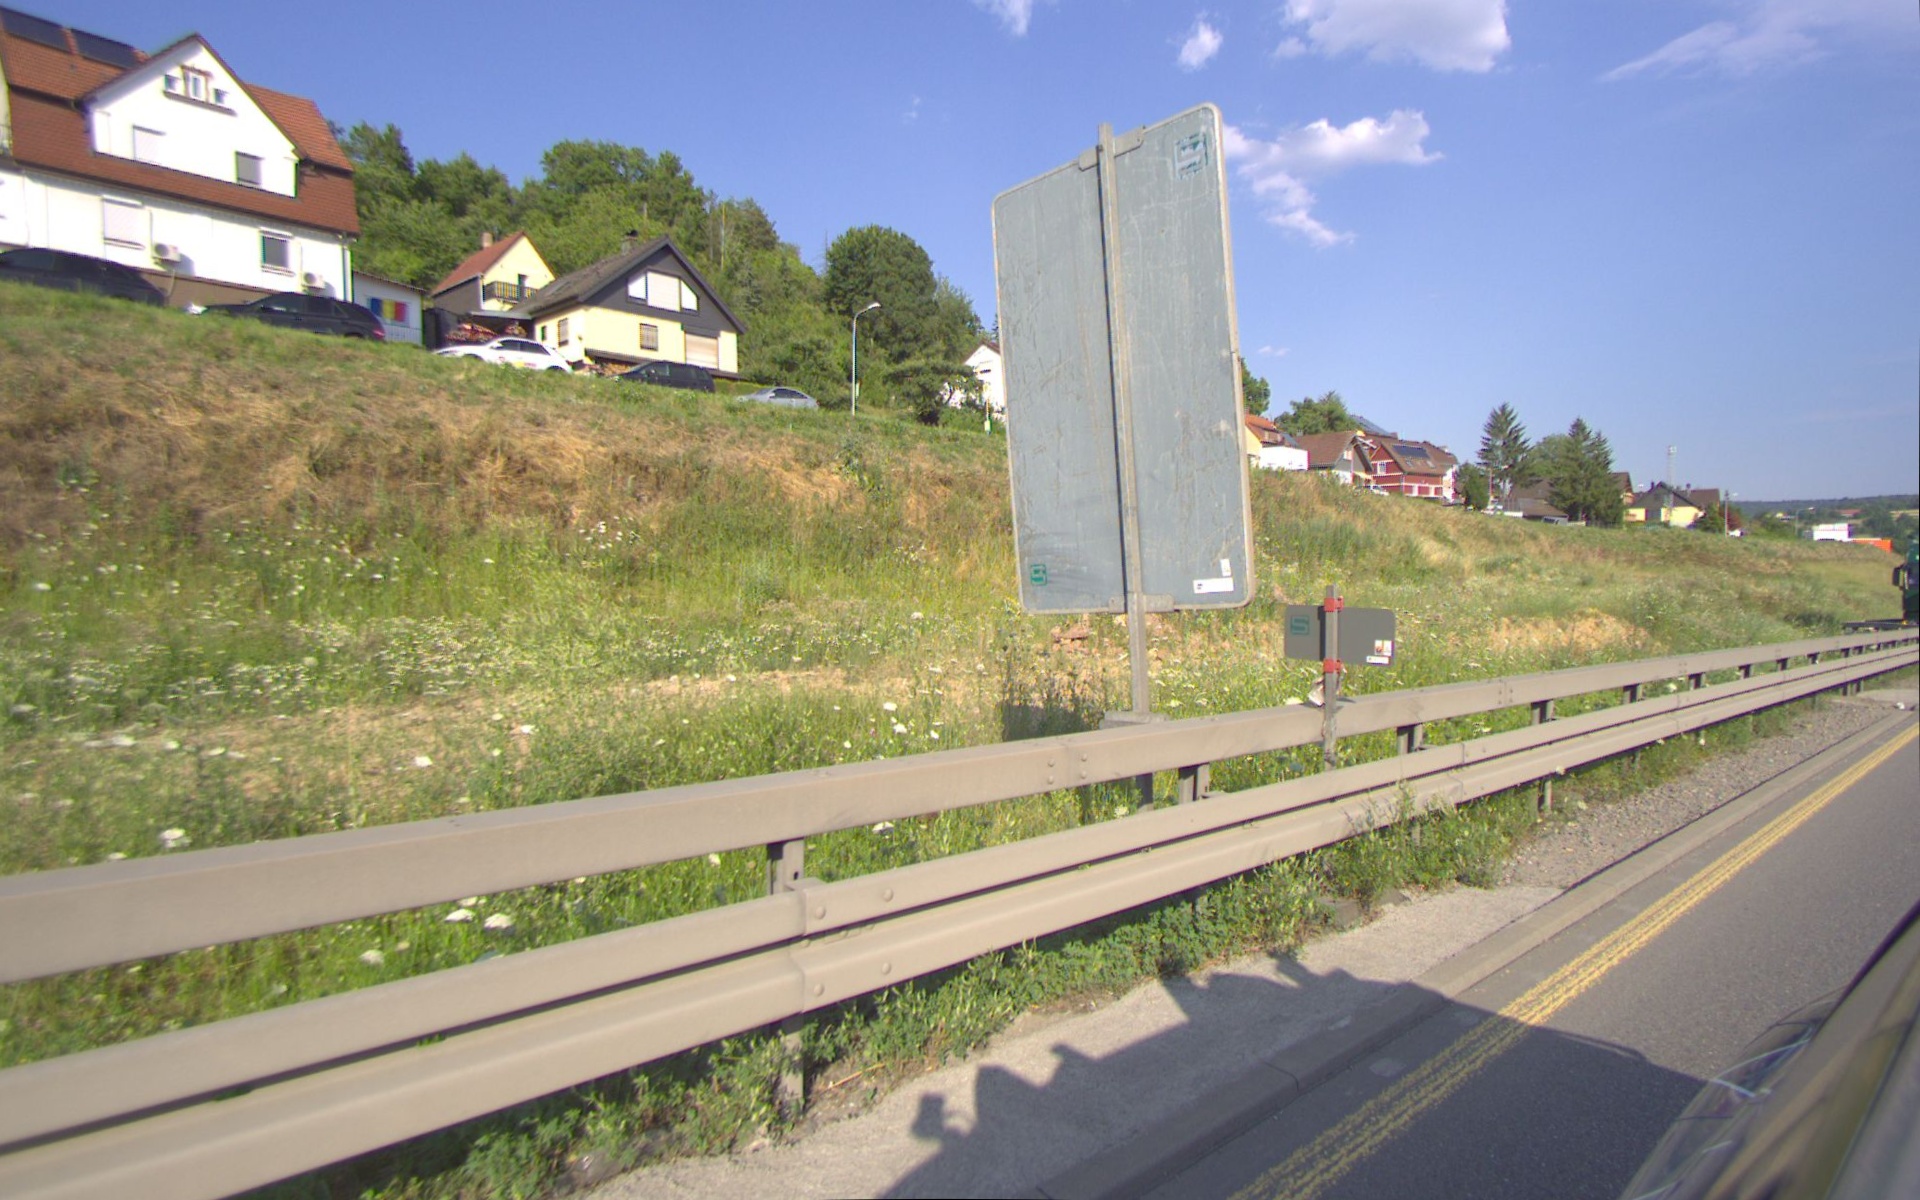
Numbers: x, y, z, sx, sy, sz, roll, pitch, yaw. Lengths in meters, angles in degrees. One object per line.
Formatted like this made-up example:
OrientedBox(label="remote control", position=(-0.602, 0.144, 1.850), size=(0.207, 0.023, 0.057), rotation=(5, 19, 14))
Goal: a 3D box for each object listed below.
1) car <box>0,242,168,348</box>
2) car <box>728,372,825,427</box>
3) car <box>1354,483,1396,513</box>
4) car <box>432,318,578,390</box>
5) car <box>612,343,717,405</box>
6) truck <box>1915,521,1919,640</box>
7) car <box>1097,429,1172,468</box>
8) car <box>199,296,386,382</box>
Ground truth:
OrientedBox(label="car", position=(-19.844, -6.787, 22.616), size=(1.356, 1.476, 3.185), rotation=(0, 0, 41))
OrientedBox(label="car", position=(-6.857, -7.487, 38.055), size=(1.443, 1.389, 3.507), rotation=(0, 0, 39))
OrientedBox(label="car", position=(33.121, -8.102, 80.759), size=(1.991, 2.039, 3.942), rotation=(0, 0, 40))
OrientedBox(label="car", position=(-13.677, -7.376, 30.601), size=(1.341, 1.248, 3.844), rotation=(0, 0, 40))
OrientedBox(label="car", position=(-9.984, -7.613, 34.369), size=(1.340, 1.340, 3.299), rotation=(0, 0, 37))
OrientedBox(label="truck", position=(35.925, -0.678, 35.748), size=(5.964, 4.066, 2.545), rotation=(0, 0, -40))
OrientedBox(label="car", position=(9.394, -8.112, 54.417), size=(3.930, 1.460, 1.997), rotation=(0, 0, -41))
OrientedBox(label="car", position=(-17.209, -6.682, 26.249), size=(1.340, 1.248, 3.848), rotation=(0, 0, 37))
